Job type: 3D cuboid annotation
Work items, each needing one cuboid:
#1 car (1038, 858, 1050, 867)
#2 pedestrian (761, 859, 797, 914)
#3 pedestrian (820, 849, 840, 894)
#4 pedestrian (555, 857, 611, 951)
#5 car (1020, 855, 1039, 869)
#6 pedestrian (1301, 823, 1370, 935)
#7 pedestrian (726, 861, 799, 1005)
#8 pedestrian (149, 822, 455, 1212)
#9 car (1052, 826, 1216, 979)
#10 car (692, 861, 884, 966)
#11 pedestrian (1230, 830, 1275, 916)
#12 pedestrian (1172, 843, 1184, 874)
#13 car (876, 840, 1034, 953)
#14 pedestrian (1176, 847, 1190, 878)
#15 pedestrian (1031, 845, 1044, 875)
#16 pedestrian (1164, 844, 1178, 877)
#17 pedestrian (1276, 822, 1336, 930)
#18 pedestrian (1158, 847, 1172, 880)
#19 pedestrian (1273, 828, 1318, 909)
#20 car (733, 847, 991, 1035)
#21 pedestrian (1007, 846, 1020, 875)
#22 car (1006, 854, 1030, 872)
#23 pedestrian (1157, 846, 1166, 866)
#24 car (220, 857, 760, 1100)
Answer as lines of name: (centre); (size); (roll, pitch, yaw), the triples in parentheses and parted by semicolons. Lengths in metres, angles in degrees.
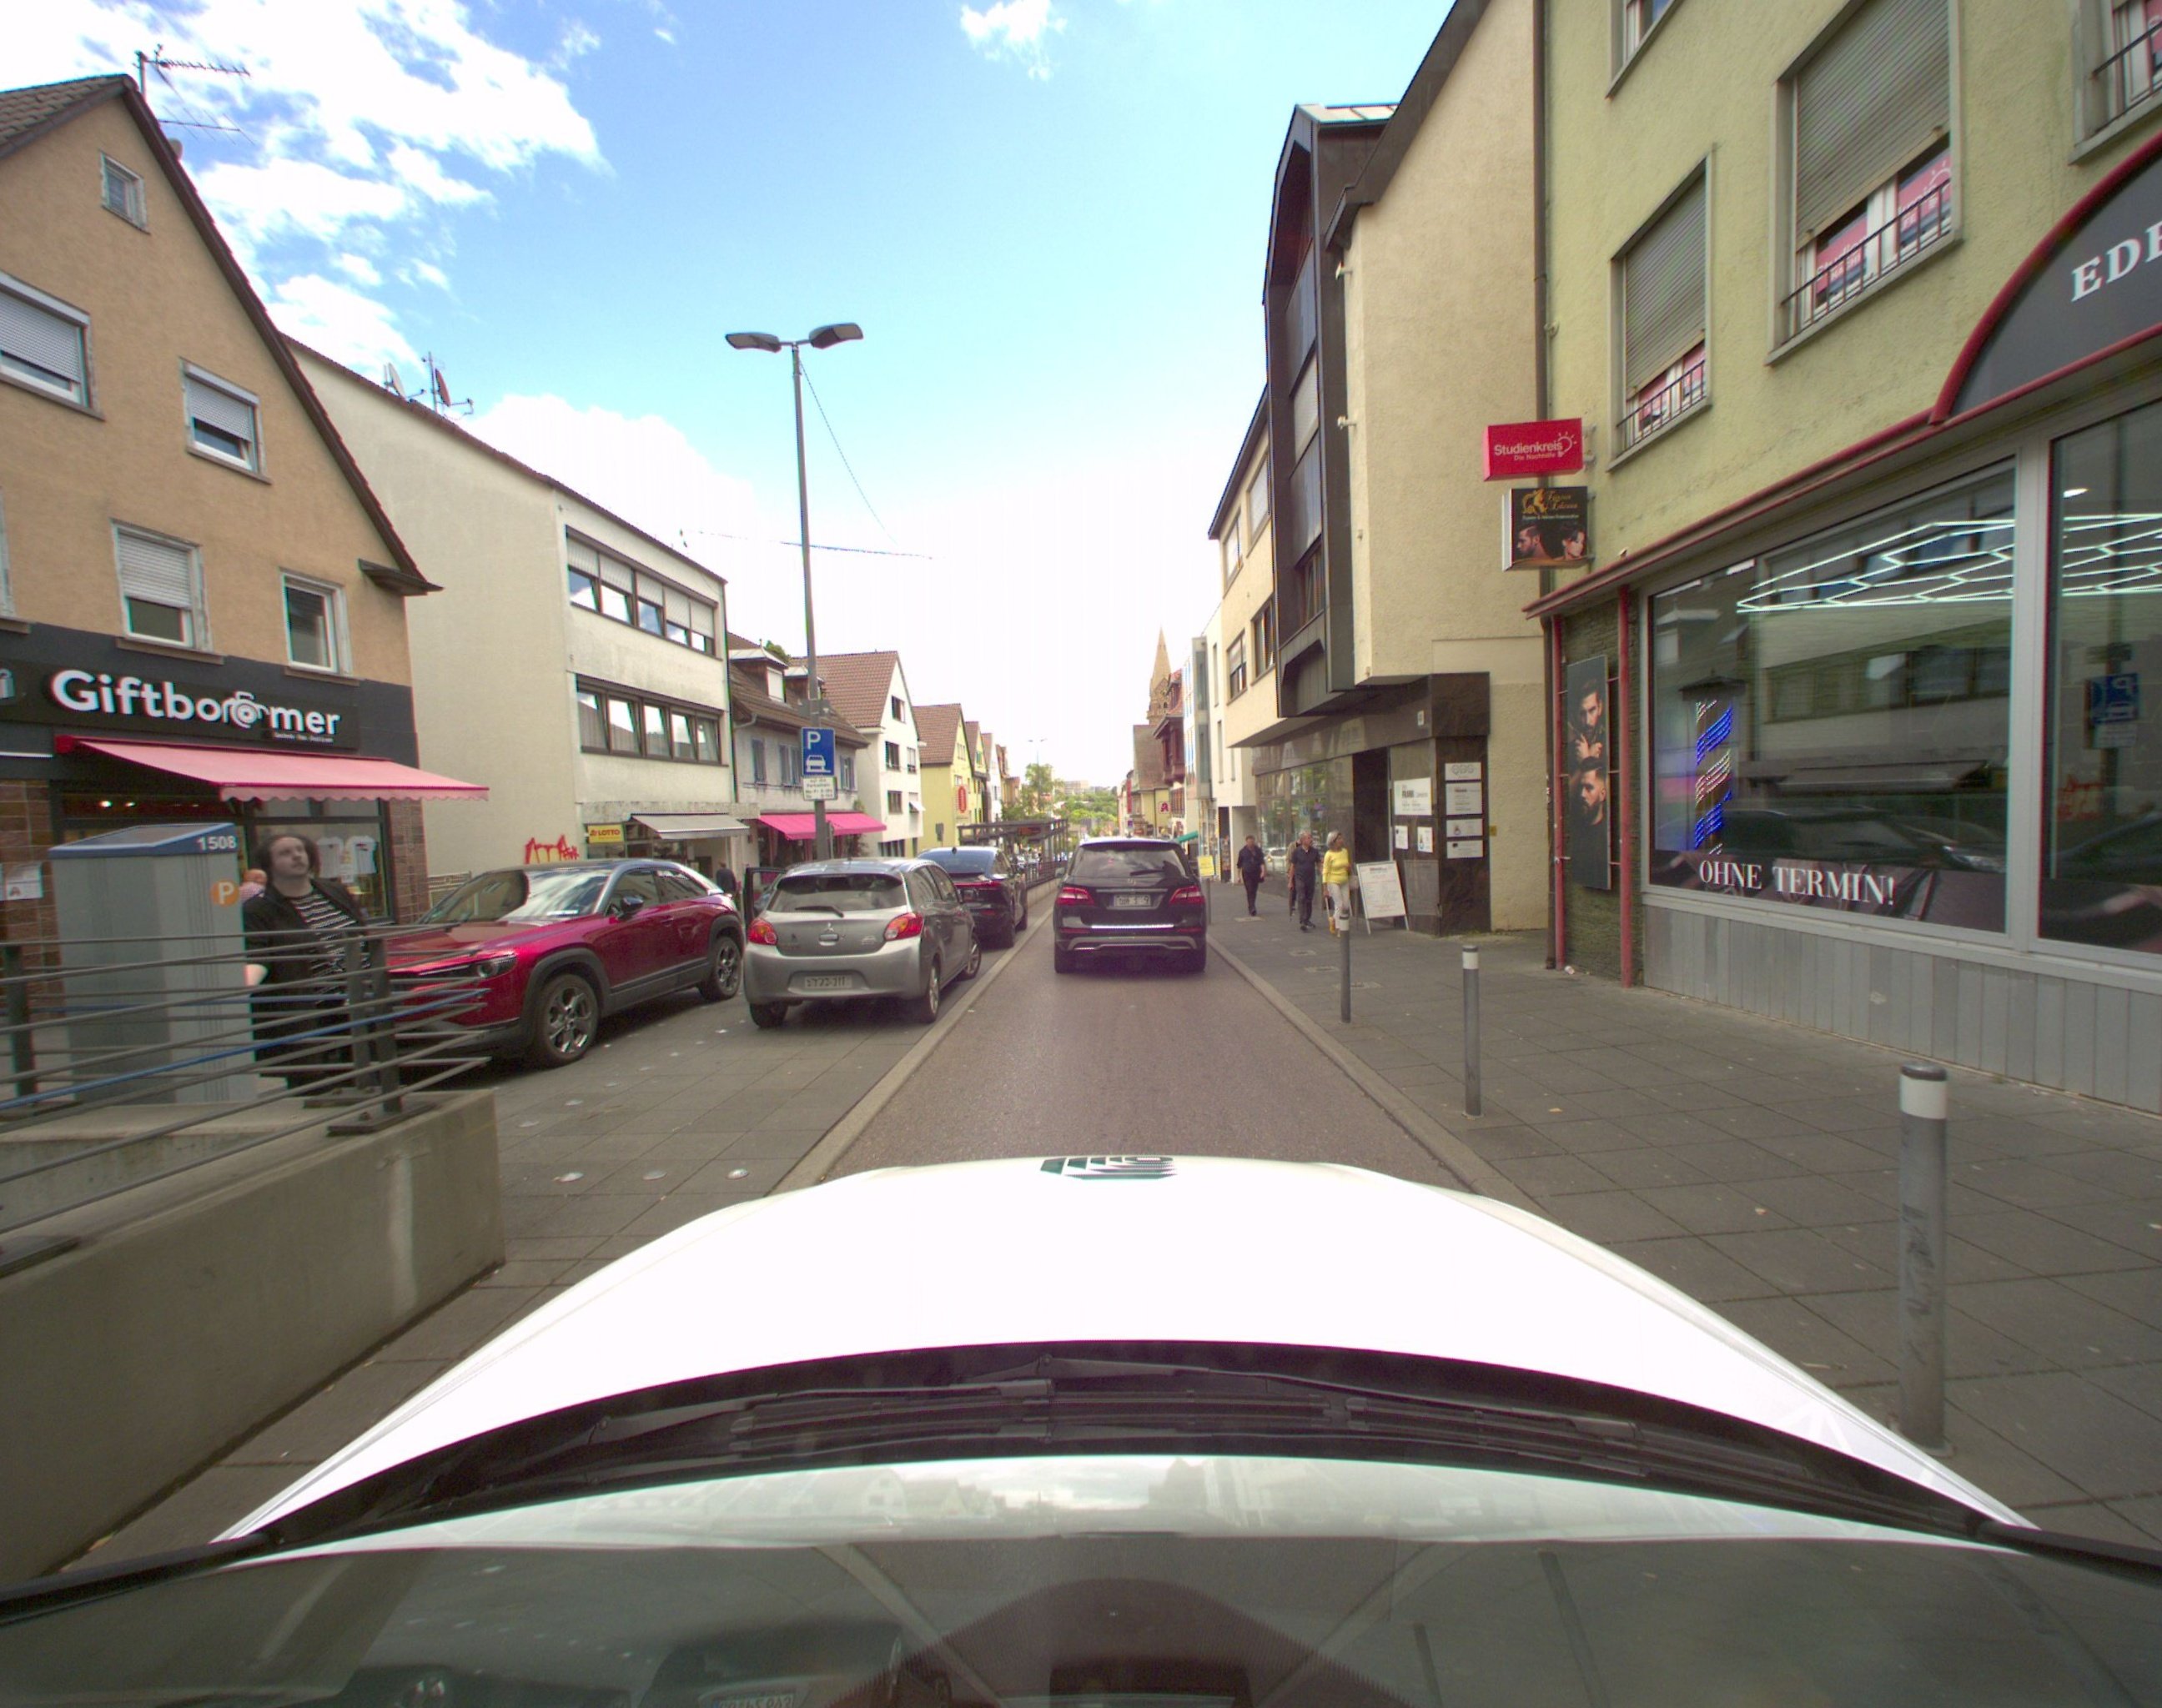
car: (-5.034, 1.131, 110.185); (1.383, 1.070, 3.114); (-3, 0, 2)
pedestrian: (-8.687, 0.913, 23.429); (0.662, 1.539, 0.946); (-1, 0, -1)
pedestrian: (-9.428, 0.648, 30.593); (0.576, 1.689, 0.577); (0, 0, 1)
pedestrian: (-9.403, 0.923, 15.367); (0.638, 1.689, 0.670); (-2, 1, 41)
car: (-5.513, 0.864, 87.480); (1.654, 1.490, 3.749); (0, 0, 2)
pedestrian: (3.916, 0.369, 12.595); (0.708, 1.631, 0.835); (-4, 0, 1)
pedestrian: (-3.343, 0.811, 8.570); (0.464, 1.431, 0.492); (-4, 0, 1)
pedestrian: (-3.697, 0.700, 3.951); (0.531, 1.672, 0.902); (-2, 0, 4)
car: (0.612, 0.561, 11.435); (1.894, 1.747, 3.999); (0, 0, 0)
car: (-4.734, 0.886, 13.787); (1.732, 1.475, 3.885); (-1, 0, 2)
pedestrian: (3.661, 0.395, 17.423); (0.708, 1.753, 0.787); (-4, 0, 1)
pedestrian: (5.449, 0.241, 45.717); (0.572, 1.689, 0.565); (0, 0, -5)
car: (-1.972, 0.626, 14.126); (1.949, 1.639, 4.316); (-1, 0, 1)
pedestrian: (5.587, 0.459, 44.760); (0.572, 1.689, 0.565); (-3, 0, -5)
pedestrian: (-2.489, 0.362, 46.734); (0.622, 1.689, 0.681); (0, 0, 9)
pedestrian: (4.796, 0.355, 43.427); (0.541, 1.726, 0.527); (-3, 0, -5)
pedestrian: (3.844, 0.369, 13.974); (0.708, 1.753, 0.785); (-4, 0, 1)
pedestrian: (4.274, 0.474, 41.640); (0.620, 1.689, 0.565); (0, 0, -5)
pedestrian: (4.675, 0.312, 17.765); (0.662, 1.689, 0.542); (-6, 0, -5)
car: (-2.008, 0.717, 8.550); (1.614, 1.532, 3.671); (-1, 0, 1)
pedestrian: (-3.867, 0.367, 46.832); (0.608, 1.689, 0.564); (0, 0, 7)
car: (-5.419, 0.793, 70.316); (1.683, 1.490, 3.980); (0, 0, 2)
pedestrian: (7.240, 0.183, 73.180); (0.604, 1.688, 0.724); (-3, 0, 1)
car: (-4.656, 0.814, 7.366); (1.732, 1.543, 4.194); (-1, 0, 1)
